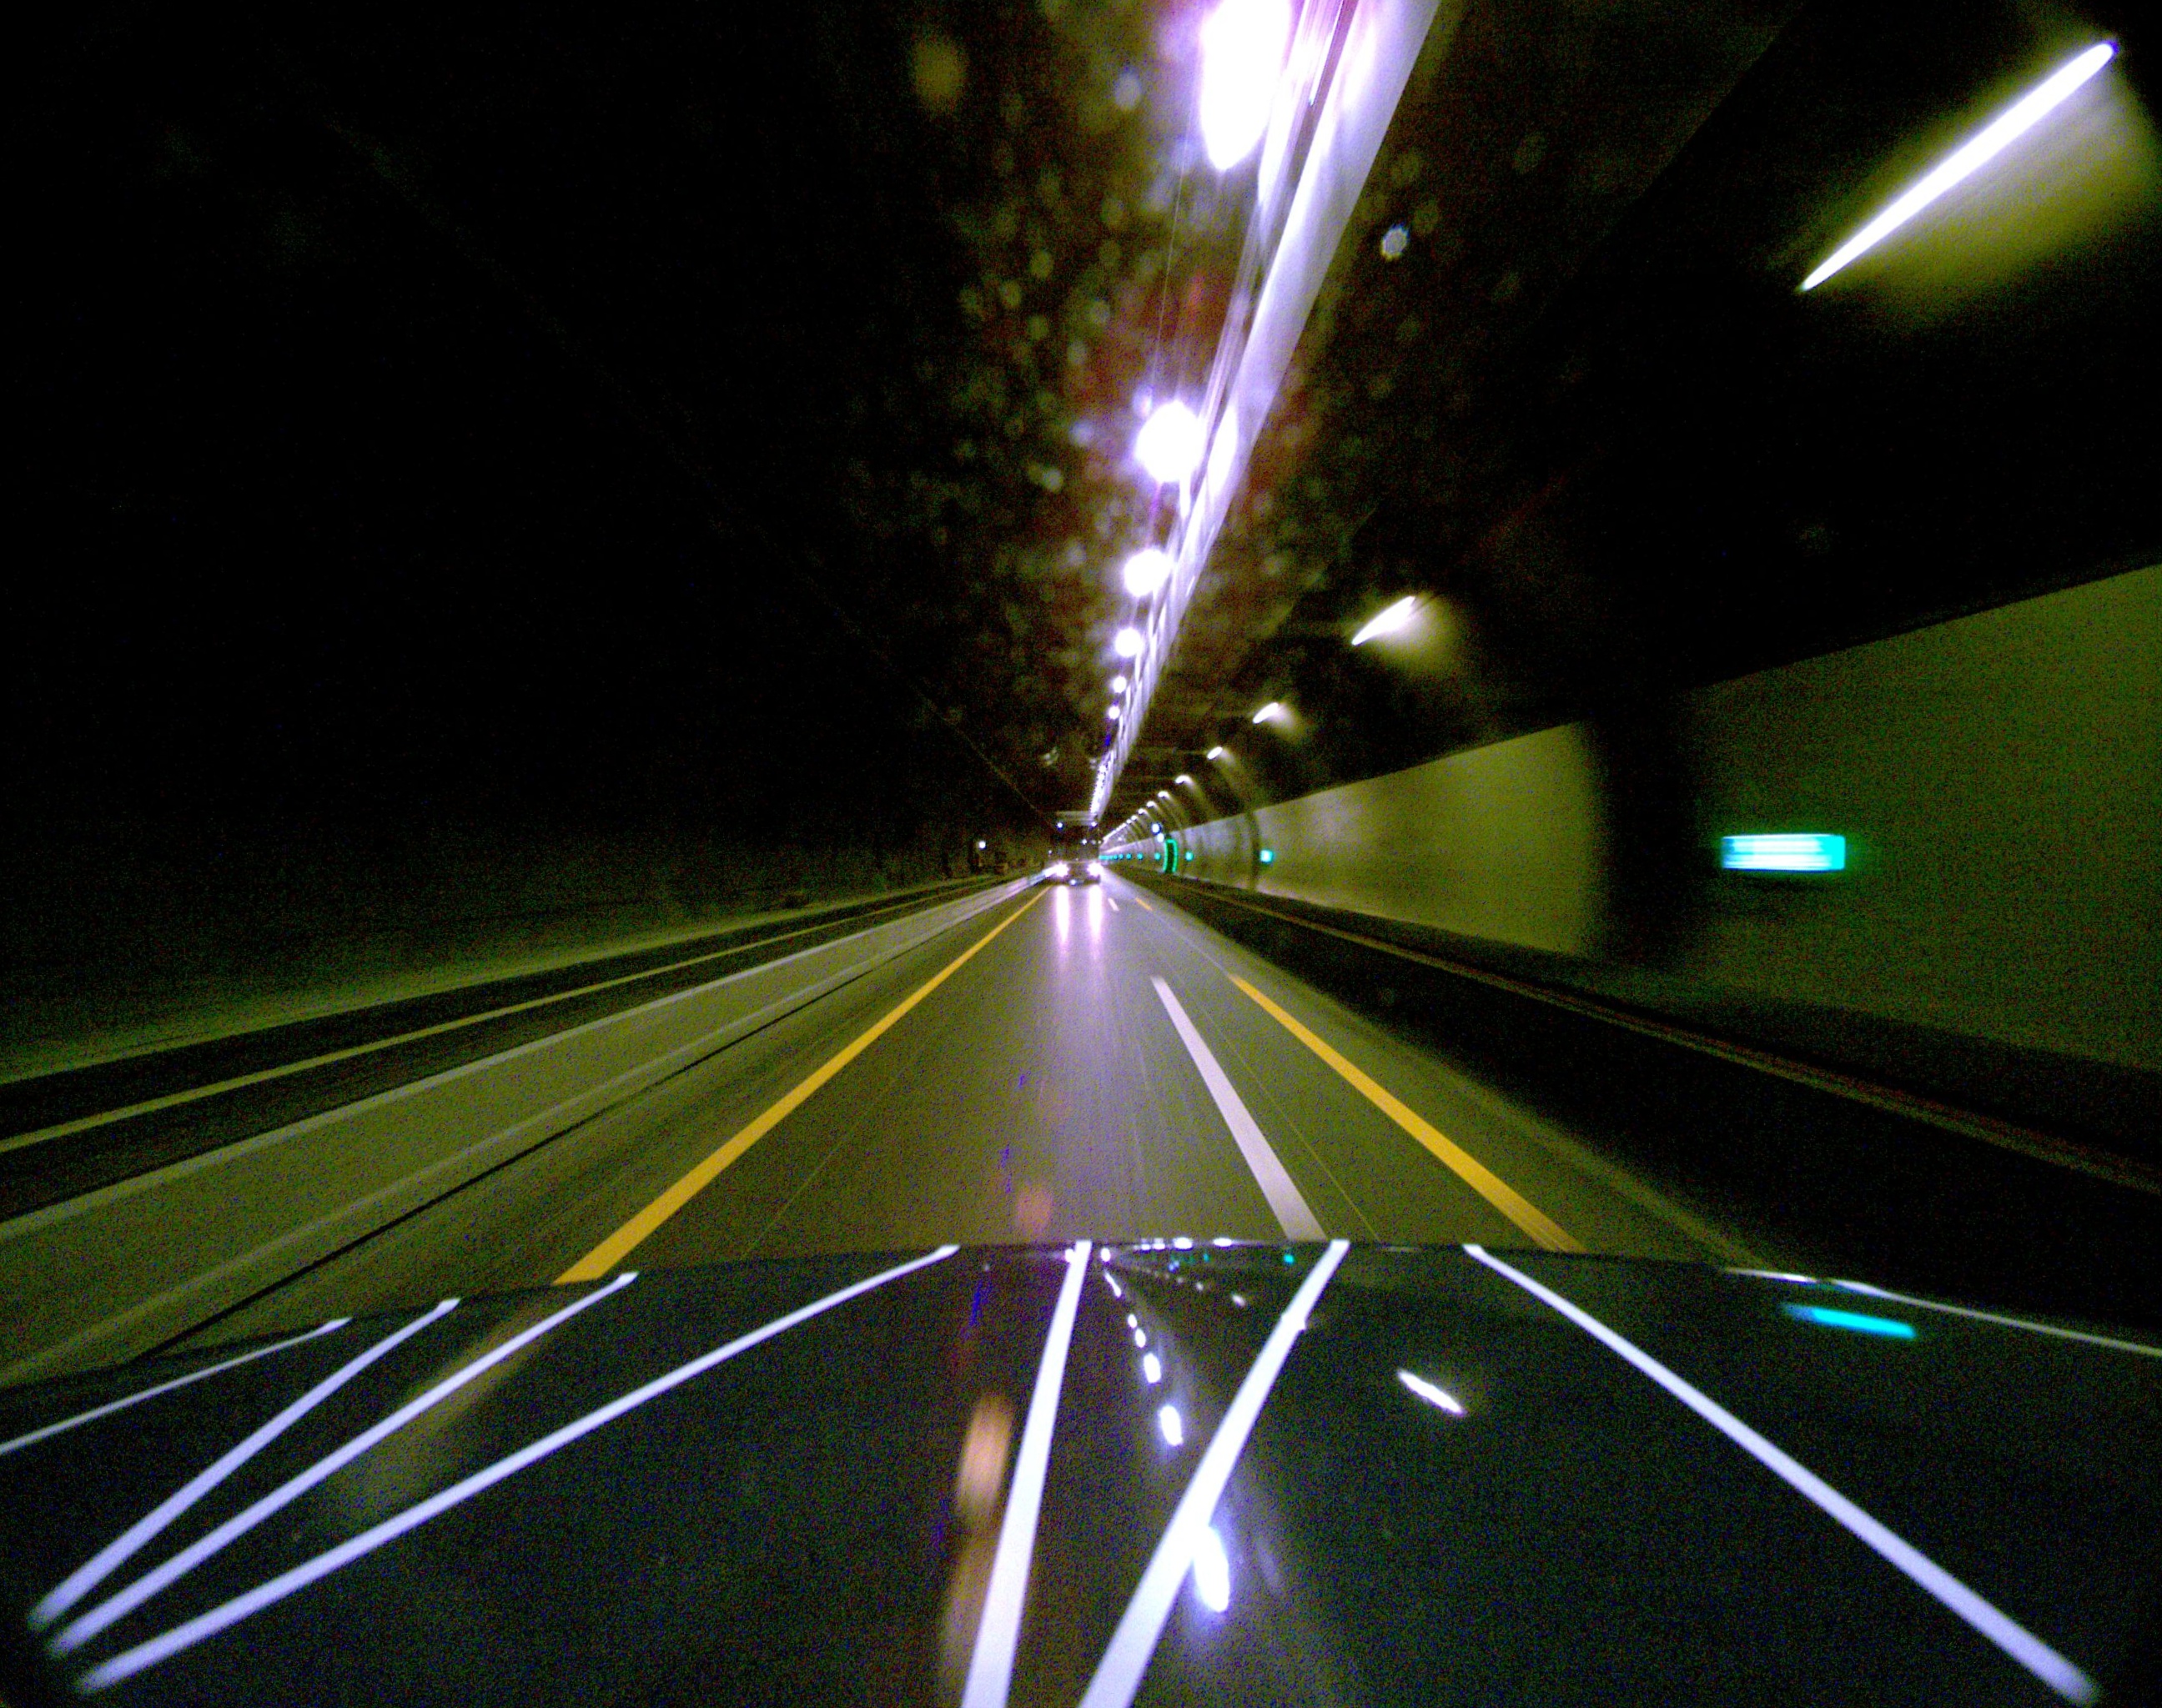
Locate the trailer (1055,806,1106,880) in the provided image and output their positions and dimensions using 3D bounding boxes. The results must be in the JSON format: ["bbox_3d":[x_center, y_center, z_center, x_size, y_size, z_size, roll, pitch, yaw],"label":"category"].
[{"bbox_3d":[0.023,-0.696,50.333,2.940,4.316,10.051,-1,1,1],"label":"trailer"}]

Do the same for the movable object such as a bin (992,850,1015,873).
[{"bbox_3d":[-7.524,0.664,73.790,1.688,2.133,4.627,-1,1,0],"label":"movable object such as a bin"}]

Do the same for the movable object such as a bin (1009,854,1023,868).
[{"bbox_3d":[-7.803,0.808,91.290,1.306,1.584,3.055,3,0,0],"label":"movable object such as a bin"}]

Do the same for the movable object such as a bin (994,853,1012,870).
[{"bbox_3d":[-8.131,0.787,79.538,1.560,1.699,3.054,-1,1,0],"label":"movable object such as a bin"}]

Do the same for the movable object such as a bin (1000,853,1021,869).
[{"bbox_3d":[-7.910,0.771,85.217,1.865,1.665,4.501,3,0,0],"label":"movable object such as a bin"}]

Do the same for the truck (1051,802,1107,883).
[{"bbox_3d":[-0.050,-0.652,44.813,2.951,4.338,6.675,-1,1,1],"label":"truck"}]
